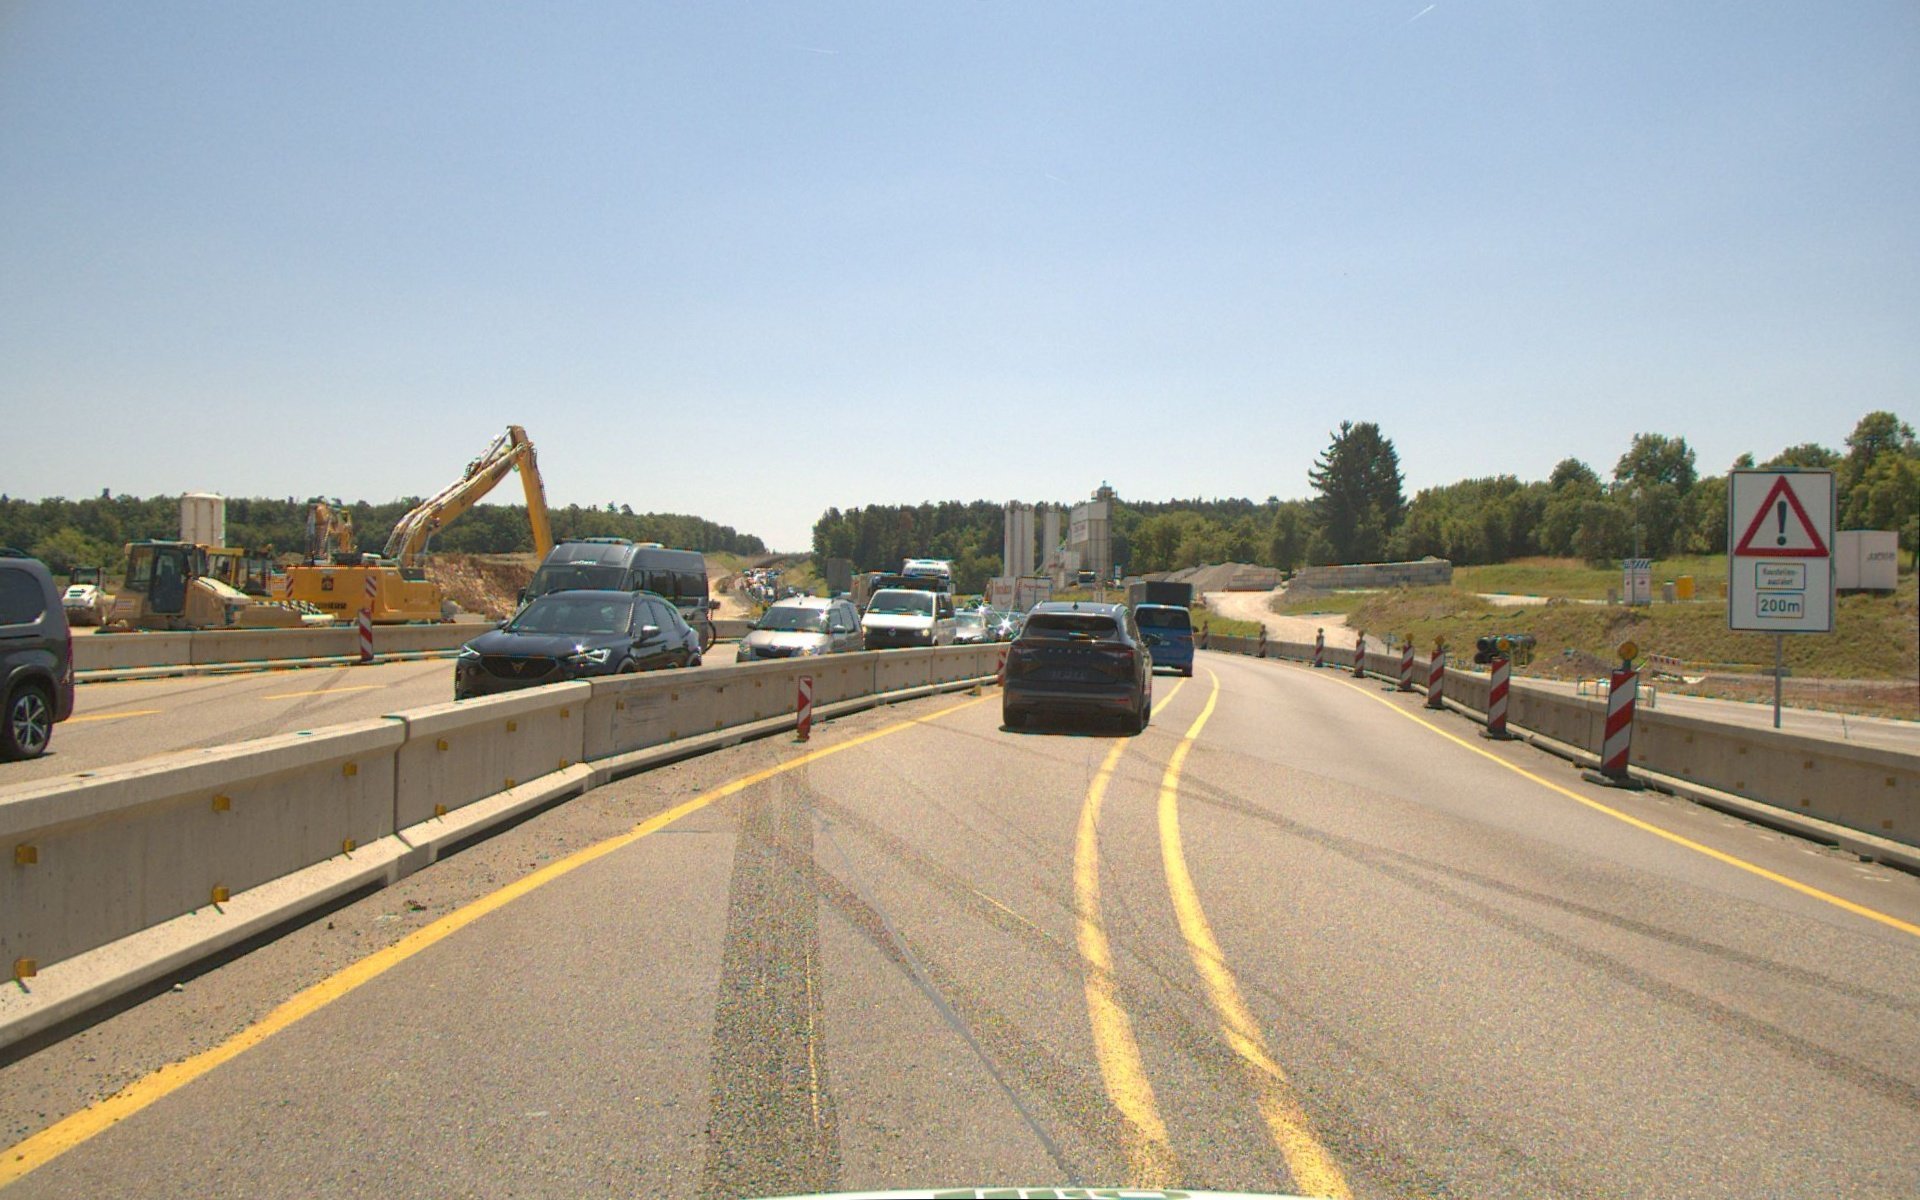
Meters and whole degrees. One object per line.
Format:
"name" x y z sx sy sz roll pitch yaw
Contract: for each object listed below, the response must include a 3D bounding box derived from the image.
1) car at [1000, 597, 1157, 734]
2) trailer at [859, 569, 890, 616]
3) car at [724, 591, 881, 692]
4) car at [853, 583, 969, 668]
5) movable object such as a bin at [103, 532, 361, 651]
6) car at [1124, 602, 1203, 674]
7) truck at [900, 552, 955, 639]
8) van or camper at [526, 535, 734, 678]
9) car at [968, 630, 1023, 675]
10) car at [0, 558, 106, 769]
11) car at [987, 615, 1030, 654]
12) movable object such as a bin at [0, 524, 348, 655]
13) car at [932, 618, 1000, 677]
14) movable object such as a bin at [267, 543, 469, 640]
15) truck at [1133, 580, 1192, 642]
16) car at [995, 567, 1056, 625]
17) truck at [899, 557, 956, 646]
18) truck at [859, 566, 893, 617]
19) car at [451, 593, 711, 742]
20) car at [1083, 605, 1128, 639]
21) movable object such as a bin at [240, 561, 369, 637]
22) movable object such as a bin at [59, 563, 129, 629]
"car" 1.683 0.816 22.229 1.803 1.609 4.003 2 0 8
"trailer" -8.047 -0.724 154.431 2.683 4.210 8.179 1 0 -4
"car" -2.800 0.710 30.331 1.719 1.644 4.232 2 0 10
"car" -1.138 0.625 41.292 1.833 1.905 5.062 2 0 10
"movable object such as a bin" -19.771 -0.232 44.987 5.924 2.811 2.813 3 0 18
"car" 5.789 1.030 46.620 1.951 1.876 4.003 2 0 10
"truck" -1.785 -0.220 89.987 2.717 4.352 11.776 1 0 -1
"van or camper" -6.452 0.135 33.293 2.054 2.586 6.310 0 0 9
"car" 1.283 1.851 58.922 1.689 1.432 4.131 2 0 4
"car" -9.107 0.547 13.295 1.738 1.796 4.713 -1 0 5
"car" 1.980 1.374 67.065 1.621 1.478 4.249 2 0 2
"movable object such as a bin" -18.445 -0.266 38.266 7.753 2.474 3.713 4 0 27
"car" 0.208 1.409 50.419 1.477 1.632 3.956 4 0 8
"movable object such as a bin" -17.357 -0.219 48.906 3.222 2.482 5.444 4 0 10
"truck" 10.139 0.531 83.396 2.617 2.997 5.623 0 0 4
"car" 5.057 -0.323 129.374 3.370 4.172 9.188 4 0 -5
"truck" -1.662 0.085 84.788 2.715 4.334 6.197 1 0 -1
"truck" -7.425 -0.722 144.967 2.718 4.210 10.862 1 0 -4
"car" -4.201 0.687 19.072 1.654 1.507 4.473 -1 0 4
"car" 6.990 1.030 79.722 2.002 1.553 5.068 0 0 4
"movable object such as a bin" -27.814 -0.105 70.439 3.590 3.078 4.991 0 2 -2
"movable object such as a bin" -45.809 -0.236 87.614 2.386 3.180 5.449 5 0 -20
